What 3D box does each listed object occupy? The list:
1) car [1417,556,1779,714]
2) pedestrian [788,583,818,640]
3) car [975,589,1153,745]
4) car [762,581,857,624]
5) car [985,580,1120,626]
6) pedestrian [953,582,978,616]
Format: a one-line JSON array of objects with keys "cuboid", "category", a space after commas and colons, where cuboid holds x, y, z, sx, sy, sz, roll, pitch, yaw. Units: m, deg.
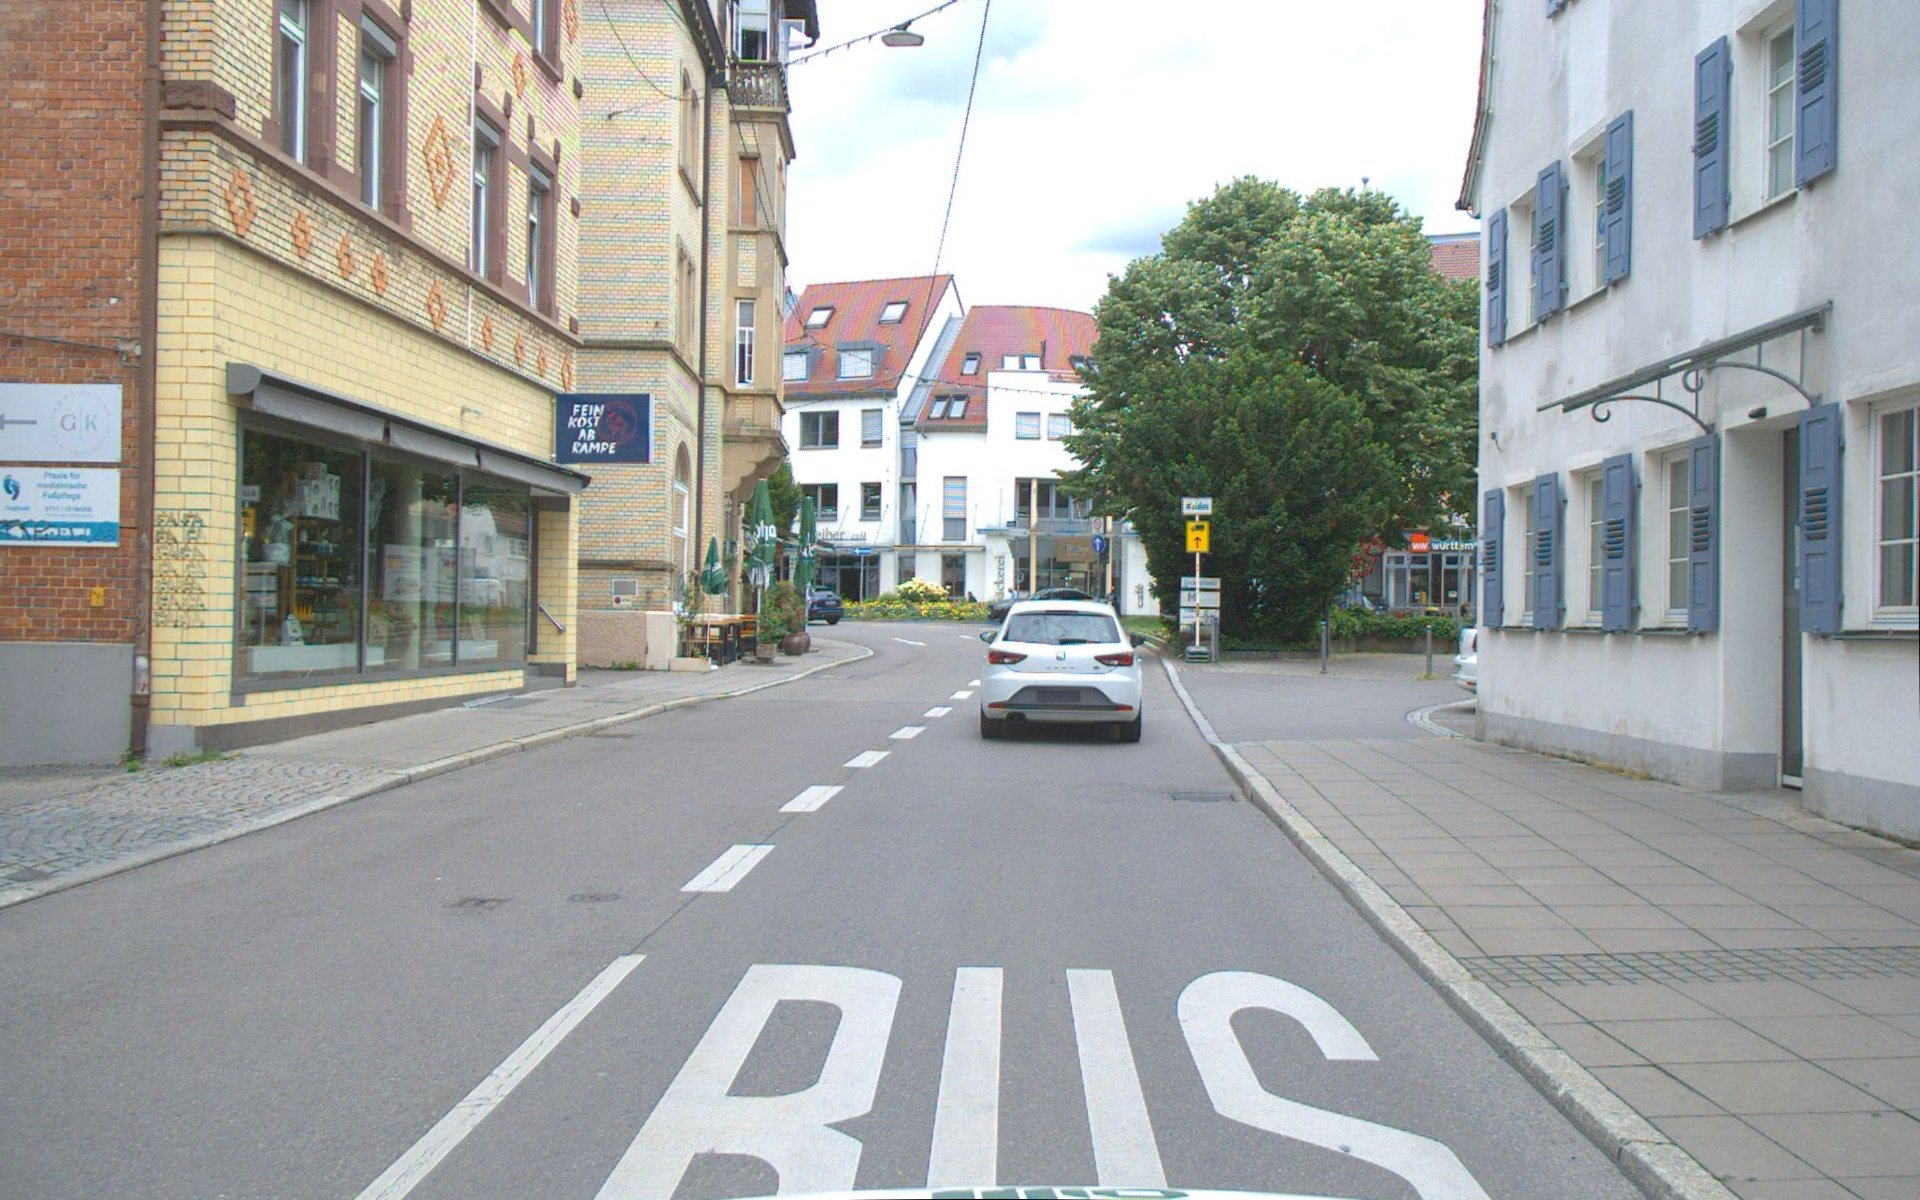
[{"cuboid": [8.128, 0.425, 21.353, 3.905, 1.870, 2.000, 1, 0, 1], "category": "car"}, {"cuboid": [-4.413, 0.313, 46.537, 0.818, 1.579, 0.627, 1, 0, -5], "category": "pedestrian"}, {"cuboid": [1.211, 0.657, 18.545, 1.773, 1.506, 3.873, 1, 1, 5], "category": "car"}, {"cuboid": [-5.565, 0.065, 60.822, 1.797, 1.506, 3.822, 0, 1, -36], "category": "car"}, {"cuboid": [3.346, 0.107, 60.768, 4.803, 1.584, 2.249, 1, 0, -1], "category": "car"}, {"cuboid": [0.208, -0.039, 66.349, 0.704, 1.335, 0.794, 1, 0, -26], "category": "pedestrian"}]
